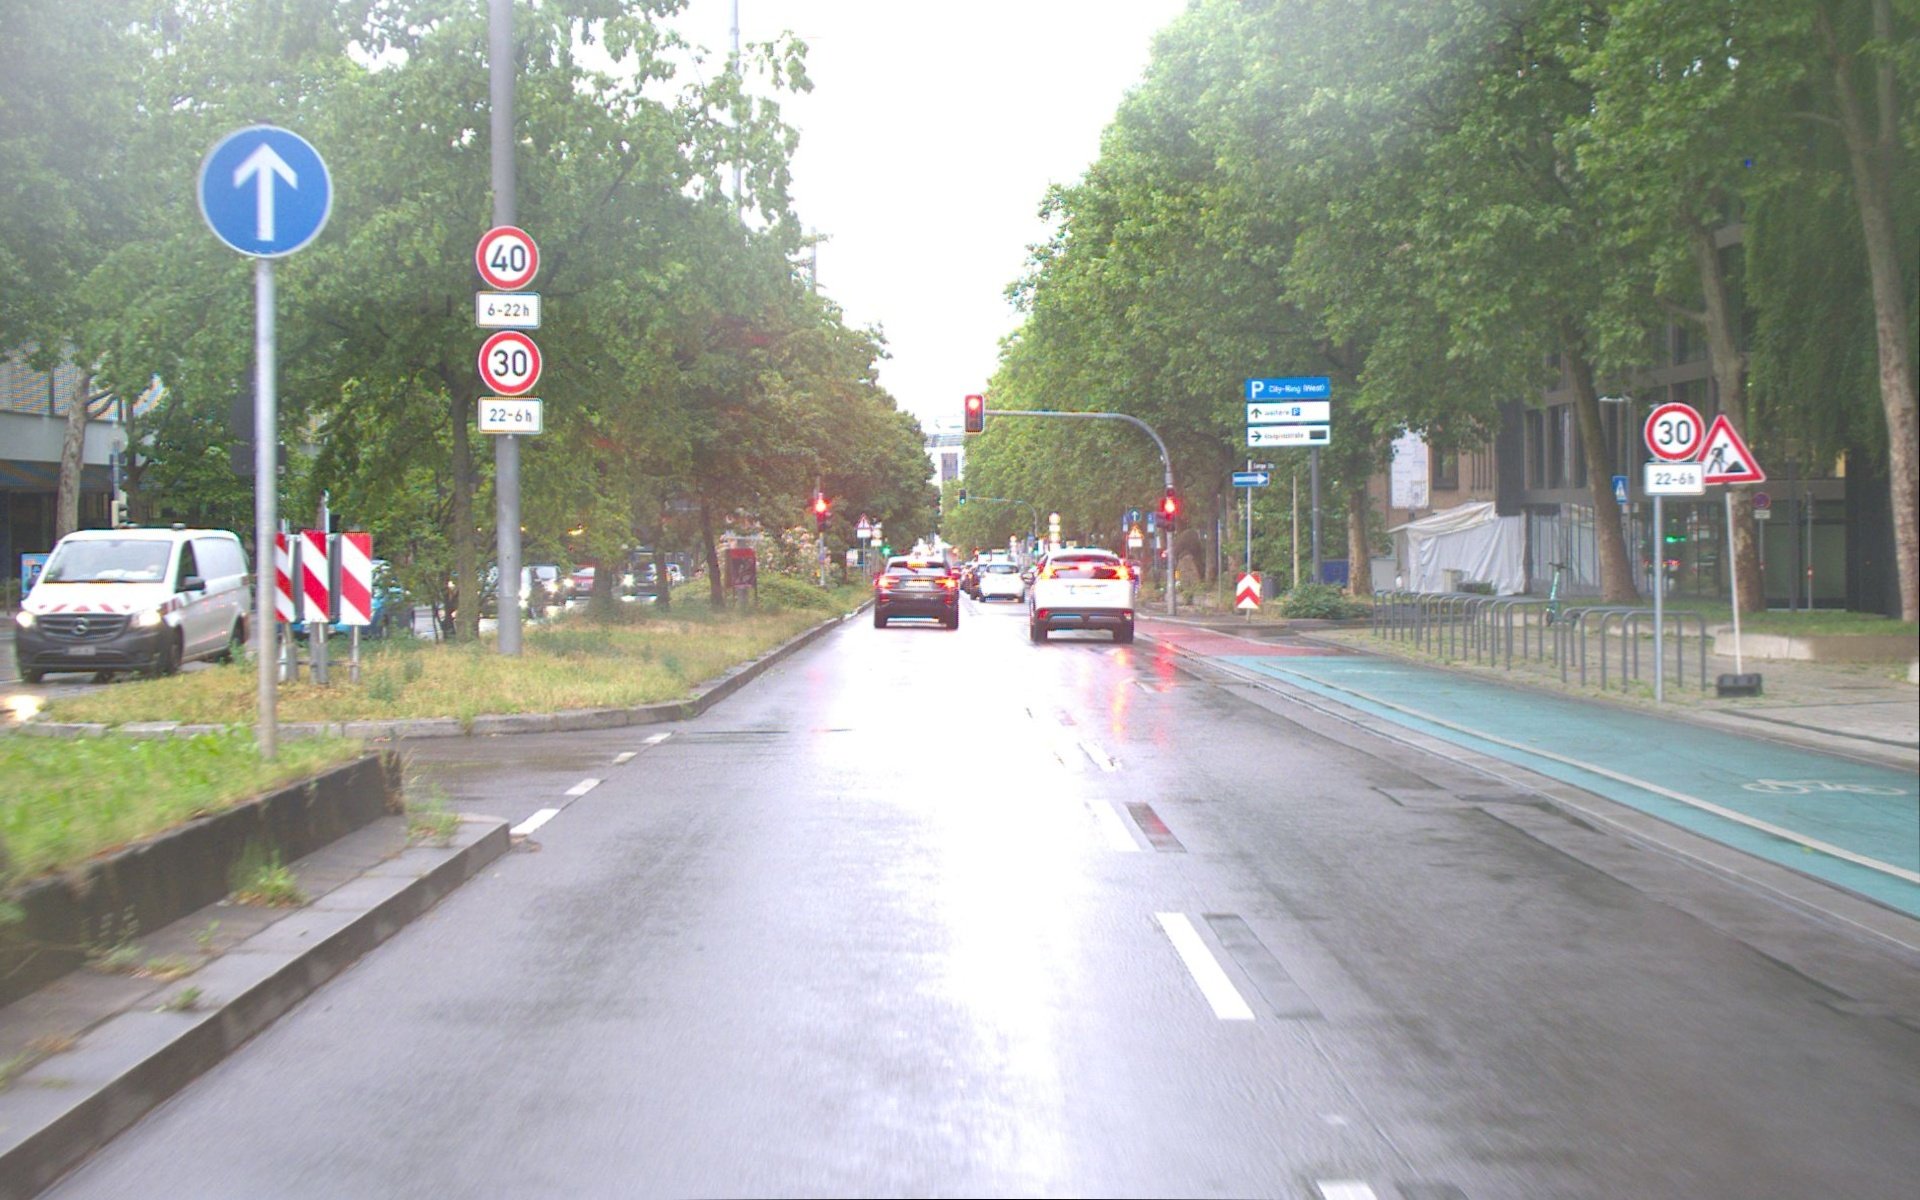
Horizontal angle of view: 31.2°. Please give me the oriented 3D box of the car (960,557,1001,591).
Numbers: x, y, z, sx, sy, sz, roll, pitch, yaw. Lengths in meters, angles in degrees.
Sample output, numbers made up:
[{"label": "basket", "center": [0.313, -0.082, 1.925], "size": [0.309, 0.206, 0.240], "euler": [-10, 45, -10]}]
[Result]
[{"label": "car", "center": [0.846, -1.096, 144.023], "size": [1.620, 1.369, 4.000], "euler": [0, 1, -1]}]

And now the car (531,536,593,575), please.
[{"label": "car", "center": [-14.484, -1.624, 125.372], "size": [1.843, 1.385, 4.000], "euler": [0, 1, -1]}]

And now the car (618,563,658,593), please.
[{"label": "car", "center": [-15.219, -1.049, 162.610], "size": [1.614, 1.389, 3.598], "euler": [0, 1, -1]}]

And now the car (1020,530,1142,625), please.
[{"label": "car", "center": [2.186, -0.442, 63.145], "size": [1.993, 1.649, 4.889], "euler": [0, 1, -1]}]

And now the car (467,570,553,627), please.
[{"label": "car", "center": [-11.787, -0.059, 90.244], "size": [1.843, 1.424, 3.643], "euler": [0, 1, -1]}]

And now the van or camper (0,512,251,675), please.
[{"label": "van or camper", "center": [-10.392, -0.137, 43.108], "size": [1.993, 1.907, 5.252], "euler": [0, 1, -1]}]

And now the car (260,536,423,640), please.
[{"label": "car", "center": [-9.822, -0.223, 54.901], "size": [1.843, 1.477, 4.397], "euler": [1, 2, -1]}]

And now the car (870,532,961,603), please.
[{"label": "car", "center": [-0.973, -0.738, 75.259], "size": [1.918, 1.486, 4.000], "euler": [0, 1, -1]}]

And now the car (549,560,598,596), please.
[{"label": "car", "center": [-15.793, -0.900, 140.611], "size": [1.614, 1.389, 4.184], "euler": [0, 1, -1]}]

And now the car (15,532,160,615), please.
[{"label": "car", "center": [-16.004, -0.516, 63.233], "size": [1.749, 1.471, 4.096], "euler": [0, 1, -2]}]

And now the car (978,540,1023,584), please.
[{"label": "car", "center": [1.539, -1.463, 132.225], "size": [1.620, 1.660, 4.000], "euler": [0, 1, -1]}]

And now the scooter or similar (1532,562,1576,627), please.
[{"label": "scooter or similar", "center": [11.169, -0.110, 64.618], "size": [0.381, 1.224, 1.077], "euler": [1, 1, 36]}]
